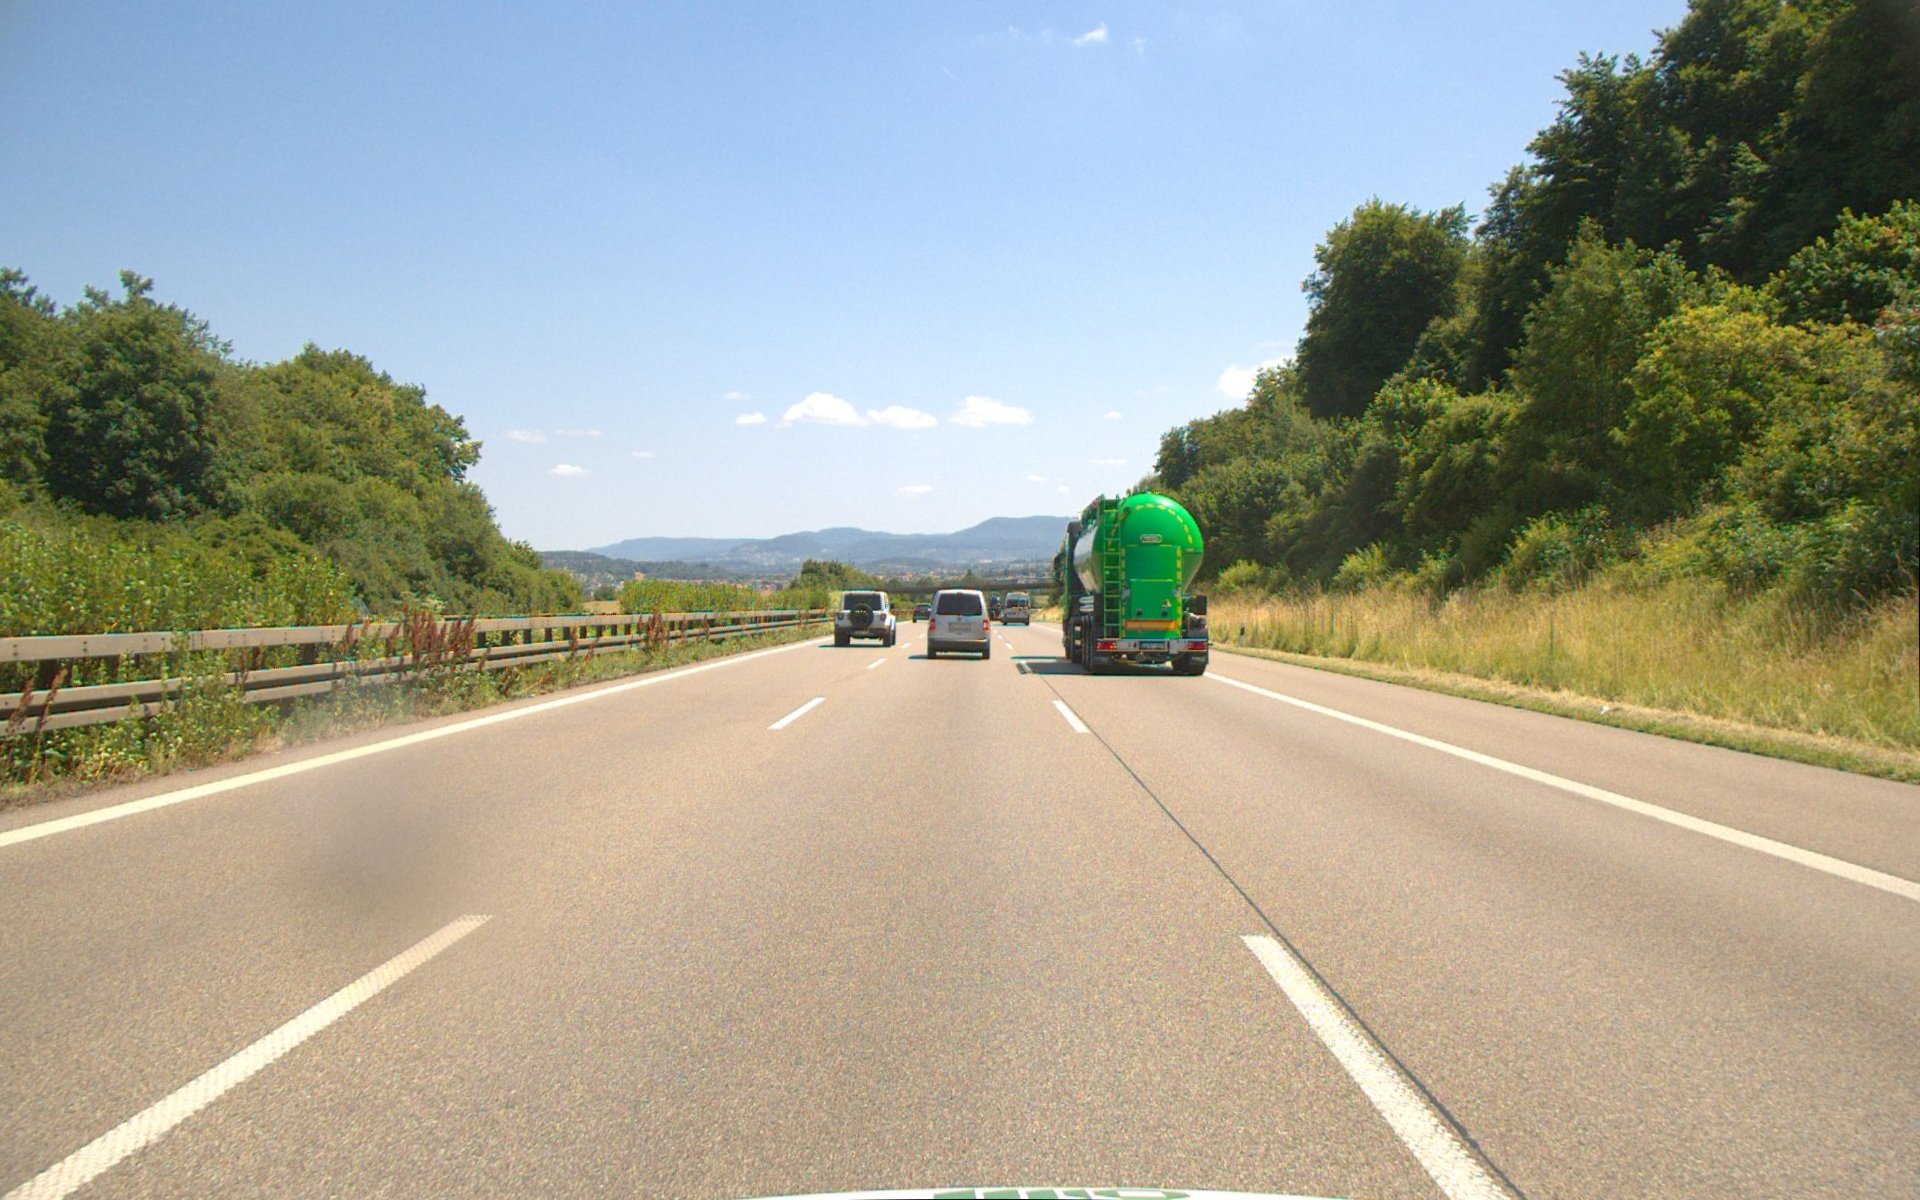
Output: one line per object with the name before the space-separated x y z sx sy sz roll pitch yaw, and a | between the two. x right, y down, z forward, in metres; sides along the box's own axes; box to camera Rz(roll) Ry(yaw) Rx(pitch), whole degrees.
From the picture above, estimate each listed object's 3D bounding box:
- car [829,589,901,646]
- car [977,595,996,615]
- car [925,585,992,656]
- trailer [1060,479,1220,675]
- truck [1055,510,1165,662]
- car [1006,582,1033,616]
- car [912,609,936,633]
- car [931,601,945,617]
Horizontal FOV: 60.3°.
car | -3.226 0.565 56.976 2.040 1.861 4.755 1 0 2
car | 2.183 0.400 135.996 1.416 1.578 3.357 1 0 3
car | -0.089 0.530 46.005 1.710 1.861 4.799 1 0 -1
trailer | 4.117 -0.488 40.107 2.535 4.098 10.468 1 0 -1
truck | 4.036 -0.379 45.381 2.458 3.909 4.891 1 0 -1
car | 4.719 -0.101 132.810 2.046 2.621 6.623 1 0 1
car | -3.186 1.805 145.707 1.952 2.049 4.000 1 0 0
car | -2.889 1.180 218.706 1.663 2.049 3.823 1 0 1
